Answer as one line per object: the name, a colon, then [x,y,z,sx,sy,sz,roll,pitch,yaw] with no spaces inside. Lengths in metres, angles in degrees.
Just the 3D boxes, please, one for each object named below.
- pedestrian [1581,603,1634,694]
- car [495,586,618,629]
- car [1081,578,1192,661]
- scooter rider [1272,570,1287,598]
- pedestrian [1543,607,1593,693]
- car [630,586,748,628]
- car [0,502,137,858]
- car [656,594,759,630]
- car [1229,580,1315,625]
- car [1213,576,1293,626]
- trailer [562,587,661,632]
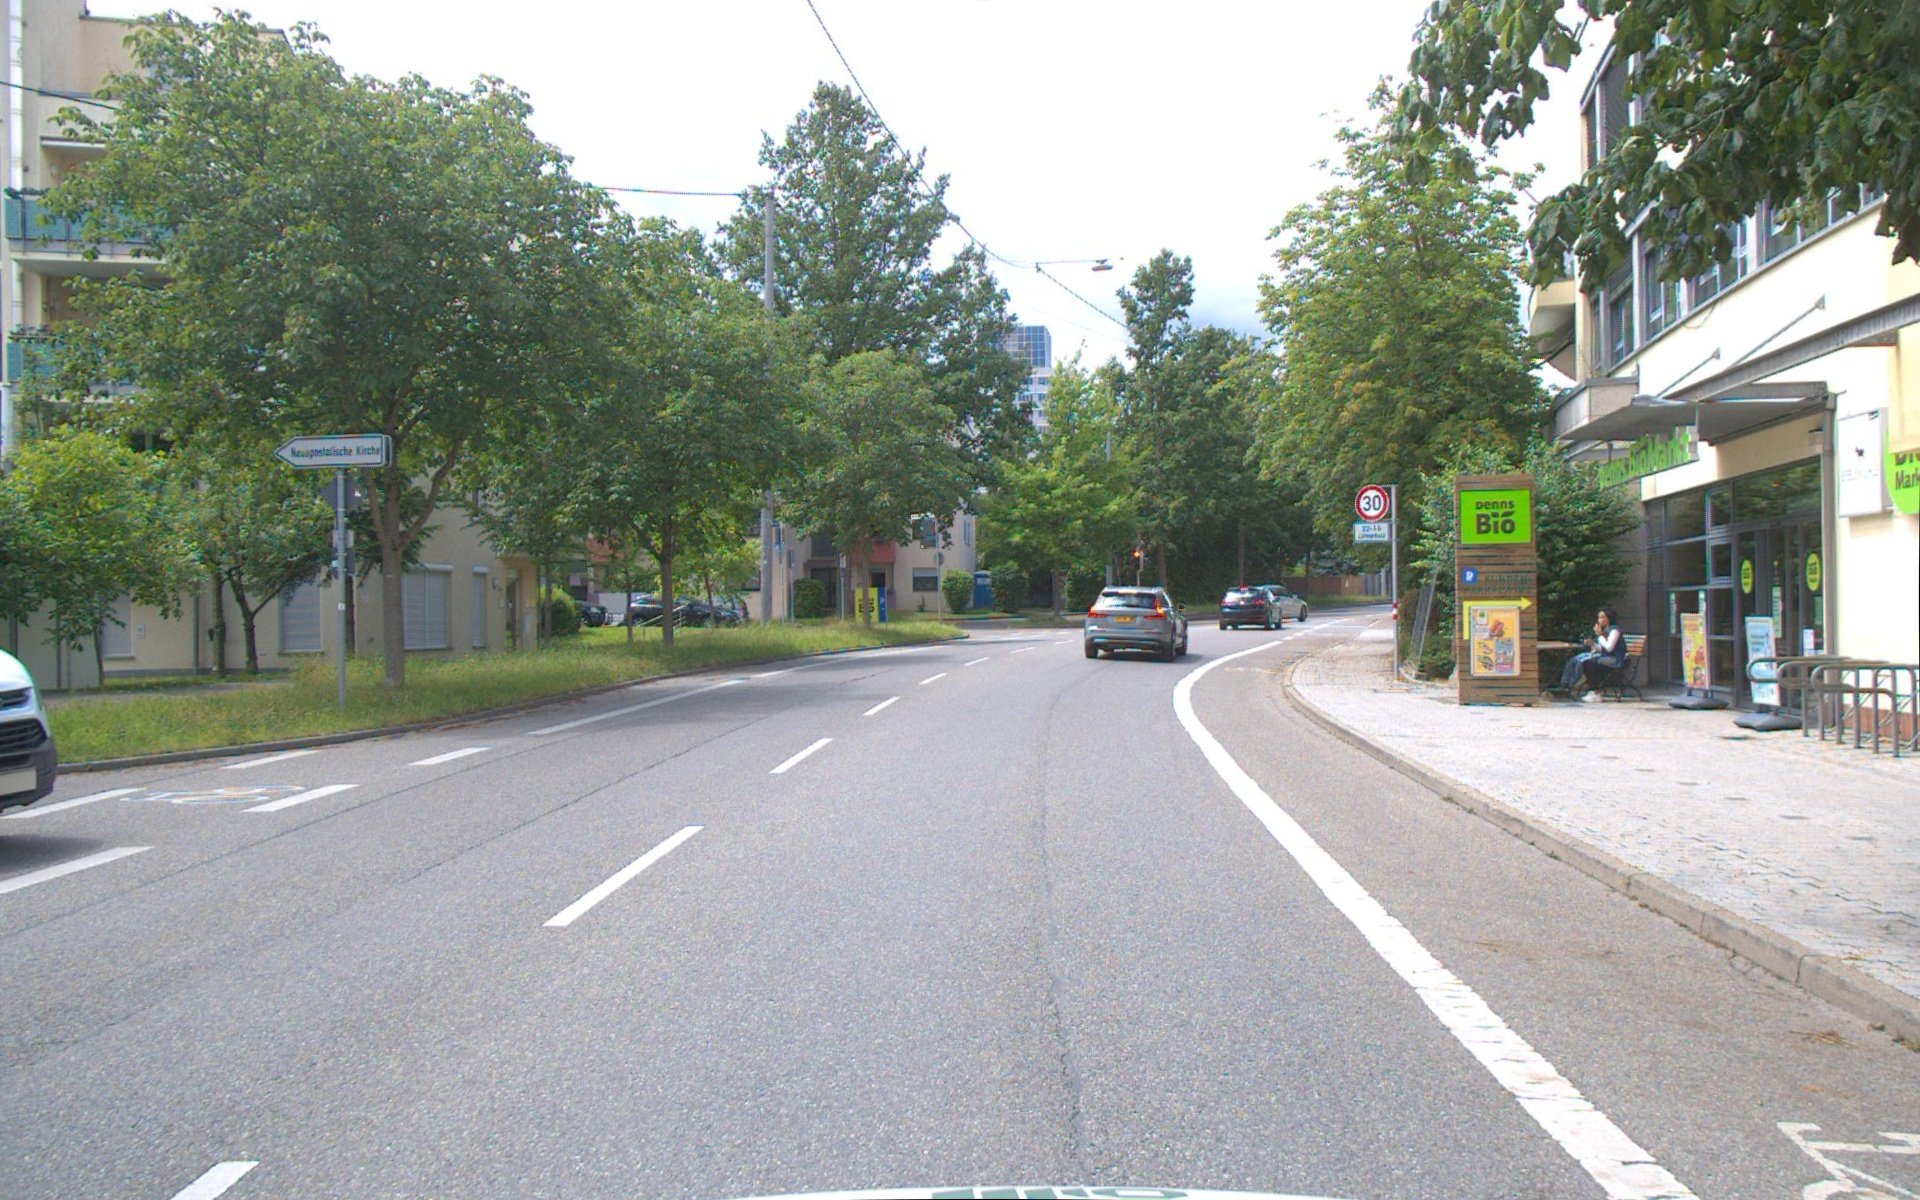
pedestrian: [8.854,0.660,22.622,0.564,1.225,0.503,0,-1,6]
car: [-15.222,0.278,62.467,4.087,1.550,1.902,-1,0,5]
car: [3.799,0.365,35.082,1.914,1.549,4.333,2,1,11]
scooter rider: [20.411,-1.036,105.635,0.695,1.758,0.676,1,-1,-21]
pedestrian: [8.654,0.710,23.551,0.511,1.202,0.501,0,-1,-5]
car: [-10.100,0.269,61.775,3.991,1.424,1.795,0,-4,5]
car: [-7.999,0.561,9.847,5.102,2.028,2.110,-3,1,5]
car: [-10.777,0.536,70.747,3.991,1.424,1.795,0,-4,5]
car: [12.698,0.106,67.132,1.774,1.644,4.313,3,0,35]
car: [9.986,0.013,56.111,1.768,1.549,4.329,3,1,22]
trailer: [-14.970,0.419,71.133,3.825,1.830,1.631,0,-4,2]
